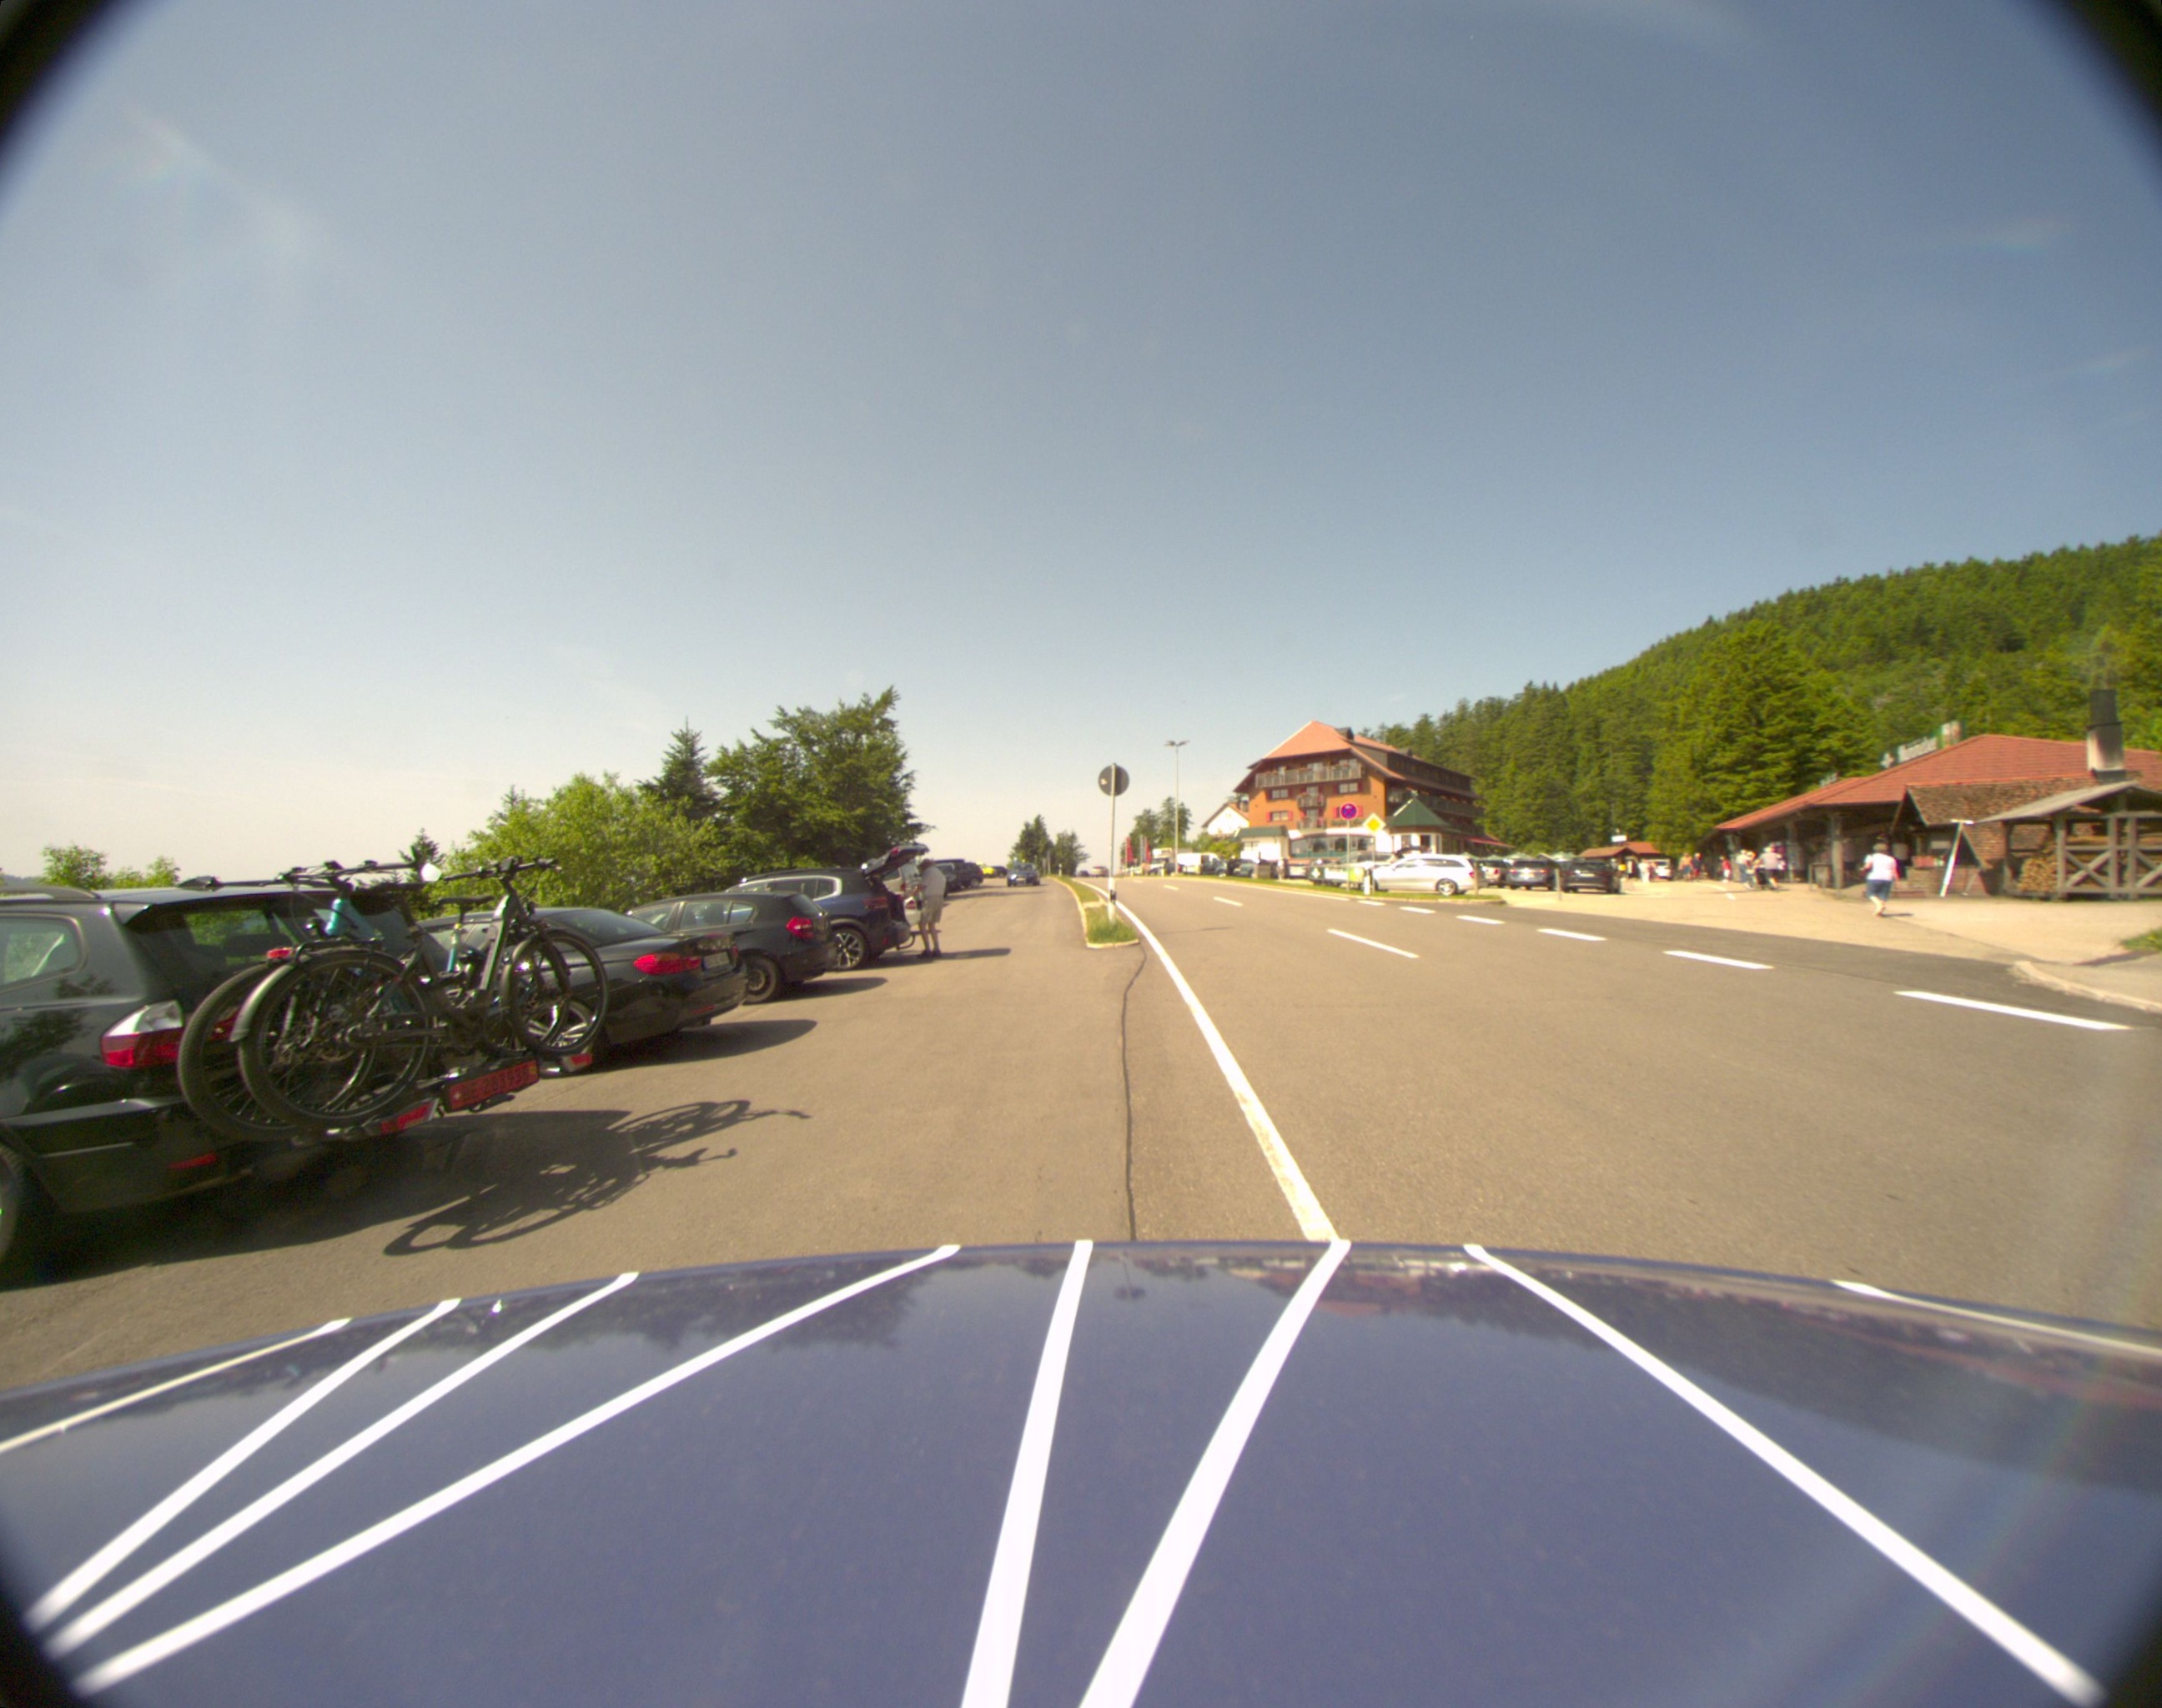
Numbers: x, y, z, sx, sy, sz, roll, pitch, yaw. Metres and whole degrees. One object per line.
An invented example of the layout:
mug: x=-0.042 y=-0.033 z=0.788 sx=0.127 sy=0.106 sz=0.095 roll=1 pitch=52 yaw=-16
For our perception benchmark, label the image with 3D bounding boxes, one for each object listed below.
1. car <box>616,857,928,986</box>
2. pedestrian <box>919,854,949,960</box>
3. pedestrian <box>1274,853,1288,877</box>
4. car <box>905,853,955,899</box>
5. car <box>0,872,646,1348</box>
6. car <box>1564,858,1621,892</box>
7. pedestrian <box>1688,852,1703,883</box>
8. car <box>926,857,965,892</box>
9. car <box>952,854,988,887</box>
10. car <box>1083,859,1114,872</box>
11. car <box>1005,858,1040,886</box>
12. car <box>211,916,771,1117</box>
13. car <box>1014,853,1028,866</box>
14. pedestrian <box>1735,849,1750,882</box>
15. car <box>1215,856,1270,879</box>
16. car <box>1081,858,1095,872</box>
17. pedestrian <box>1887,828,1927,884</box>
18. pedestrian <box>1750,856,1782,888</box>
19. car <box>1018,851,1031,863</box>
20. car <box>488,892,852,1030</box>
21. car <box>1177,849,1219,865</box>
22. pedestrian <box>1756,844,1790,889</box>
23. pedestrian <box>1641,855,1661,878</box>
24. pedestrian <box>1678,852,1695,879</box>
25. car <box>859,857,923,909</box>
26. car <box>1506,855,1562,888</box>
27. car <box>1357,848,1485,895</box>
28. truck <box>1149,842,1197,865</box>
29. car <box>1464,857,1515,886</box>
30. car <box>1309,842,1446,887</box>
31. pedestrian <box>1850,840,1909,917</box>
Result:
car: x=-4.997 y=1.049 z=12.767 sx=4.323 sy=1.811 sz=2.000 roll=-3 pitch=0 yaw=2
pedestrian: x=-2.568 y=0.907 z=13.324 sx=0.367 sy=1.812 sz=0.549 roll=-1 pitch=1 yaw=1
pedestrian: x=14.335 y=0.809 z=54.442 sx=0.779 sy=1.690 sz=0.684 roll=-1 pitch=1 yaw=5
car: x=-7.299 y=1.021 z=37.024 sx=2.000 sy=2.002 sz=3.997 roll=-2 pitch=1 yaw=-7
car: x=-5.382 y=1.142 z=3.862 sx=5.113 sy=1.610 sz=2.000 roll=-5 pitch=0 yaw=3
car: x=21.672 y=0.857 z=32.155 sx=1.708 sy=1.387 sz=3.323 roll=-1 pitch=-1 yaw=39
pedestrian: x=35.167 y=0.750 z=43.485 sx=0.469 sy=1.755 sz=0.572 roll=-2 pitch=1 yaw=-37
car: x=-7.652 y=1.119 z=43.232 sx=2.000 sy=1.734 sz=3.996 roll=-2 pitch=1 yaw=-9
car: x=-7.201 y=1.018 z=48.977 sx=2.000 sy=2.002 sz=3.995 roll=-2 pitch=1 yaw=-12
car: x=2.155 y=1.410 z=94.240 sx=2.003 sy=1.402 sz=3.991 roll=-3 pitch=1 yaw=-31
car: x=-3.547 y=1.050 z=46.791 sx=1.999 sy=1.537 sz=3.998 roll=-2 pitch=1 yaw=-4
car: x=-4.952 y=1.343 z=6.720 sx=3.708 sy=1.261 sz=1.564 roll=-4 pitch=-1 yaw=2
car: x=-9.348 y=0.815 z=118.989 sx=1.999 sy=2.002 sz=3.997 roll=-2 pitch=1 yaw=-6
pedestrian: x=32.355 y=0.554 z=37.171 sx=0.521 sy=1.614 sz=0.538 roll=-1 pitch=1 yaw=37
car: x=11.363 y=0.945 z=53.572 sx=1.719 sy=1.583 sz=3.325 roll=-2 pitch=0 yaw=-45
car: x=1.074 y=1.842 z=124.676 sx=1.999 sy=2.200 sz=3.999 roll=-2 pitch=0 yaw=-2
pedestrian: x=30.529 y=0.072 z=28.092 sx=0.894 sy=2.002 sz=0.789 roll=-1 pitch=1 yaw=40
pedestrian: x=26.549 y=0.691 z=29.464 sx=0.770 sy=1.190 sz=0.891 roll=-1 pitch=1 yaw=31
car: x=-9.233 y=0.489 z=123.818 sx=1.953 sy=1.970 sz=4.068 roll=-1 pitch=0 yaw=-8
car: x=-5.057 y=1.288 z=9.802 sx=3.684 sy=1.343 sz=1.737 roll=-2 pitch=0 yaw=-4
car: x=15.285 y=0.362 z=99.545 sx=5.248 sy=1.894 sz=2.001 roll=-1 pitch=0 yaw=7
pedestrian: x=26.085 y=0.452 z=28.654 sx=0.770 sy=1.657 sz=0.891 roll=-1 pitch=1 yaw=31
pedestrian: x=38.522 y=0.845 z=51.350 sx=0.985 sy=1.487 sz=0.891 roll=-1 pitch=1 yaw=30
pedestrian: x=37.306 y=0.688 z=46.797 sx=0.534 sy=1.664 sz=0.681 roll=-2 pitch=1 yaw=-37
car: x=-7.478 y=1.085 z=30.234 sx=1.867 sy=1.830 sz=3.881 roll=-2 pitch=1 yaw=-6
car: x=20.848 y=0.795 z=34.918 sx=1.714 sy=1.425 sz=3.323 roll=-1 pitch=-1 yaw=39
car: x=12.427 y=0.618 z=27.898 sx=3.952 sy=1.579 sz=1.793 roll=-1 pitch=0 yaw=38
truck: x=13.015 y=-0.098 z=106.640 sx=2.862 sy=2.813 sz=8.777 roll=-2 pitch=1 yaw=35
car: x=20.523 y=0.857 z=38.149 sx=1.636 sy=1.425 sz=3.323 roll=-1 pitch=-1 yaw=39
car: x=13.137 y=0.483 z=33.843 sx=5.349 sy=1.859 sz=2.004 roll=-1 pitch=0 yaw=33
pedestrian: x=18.468 y=0.552 z=17.586 sx=0.638 sy=1.731 sz=0.910 roll=-2 pitch=1 yaw=-44
